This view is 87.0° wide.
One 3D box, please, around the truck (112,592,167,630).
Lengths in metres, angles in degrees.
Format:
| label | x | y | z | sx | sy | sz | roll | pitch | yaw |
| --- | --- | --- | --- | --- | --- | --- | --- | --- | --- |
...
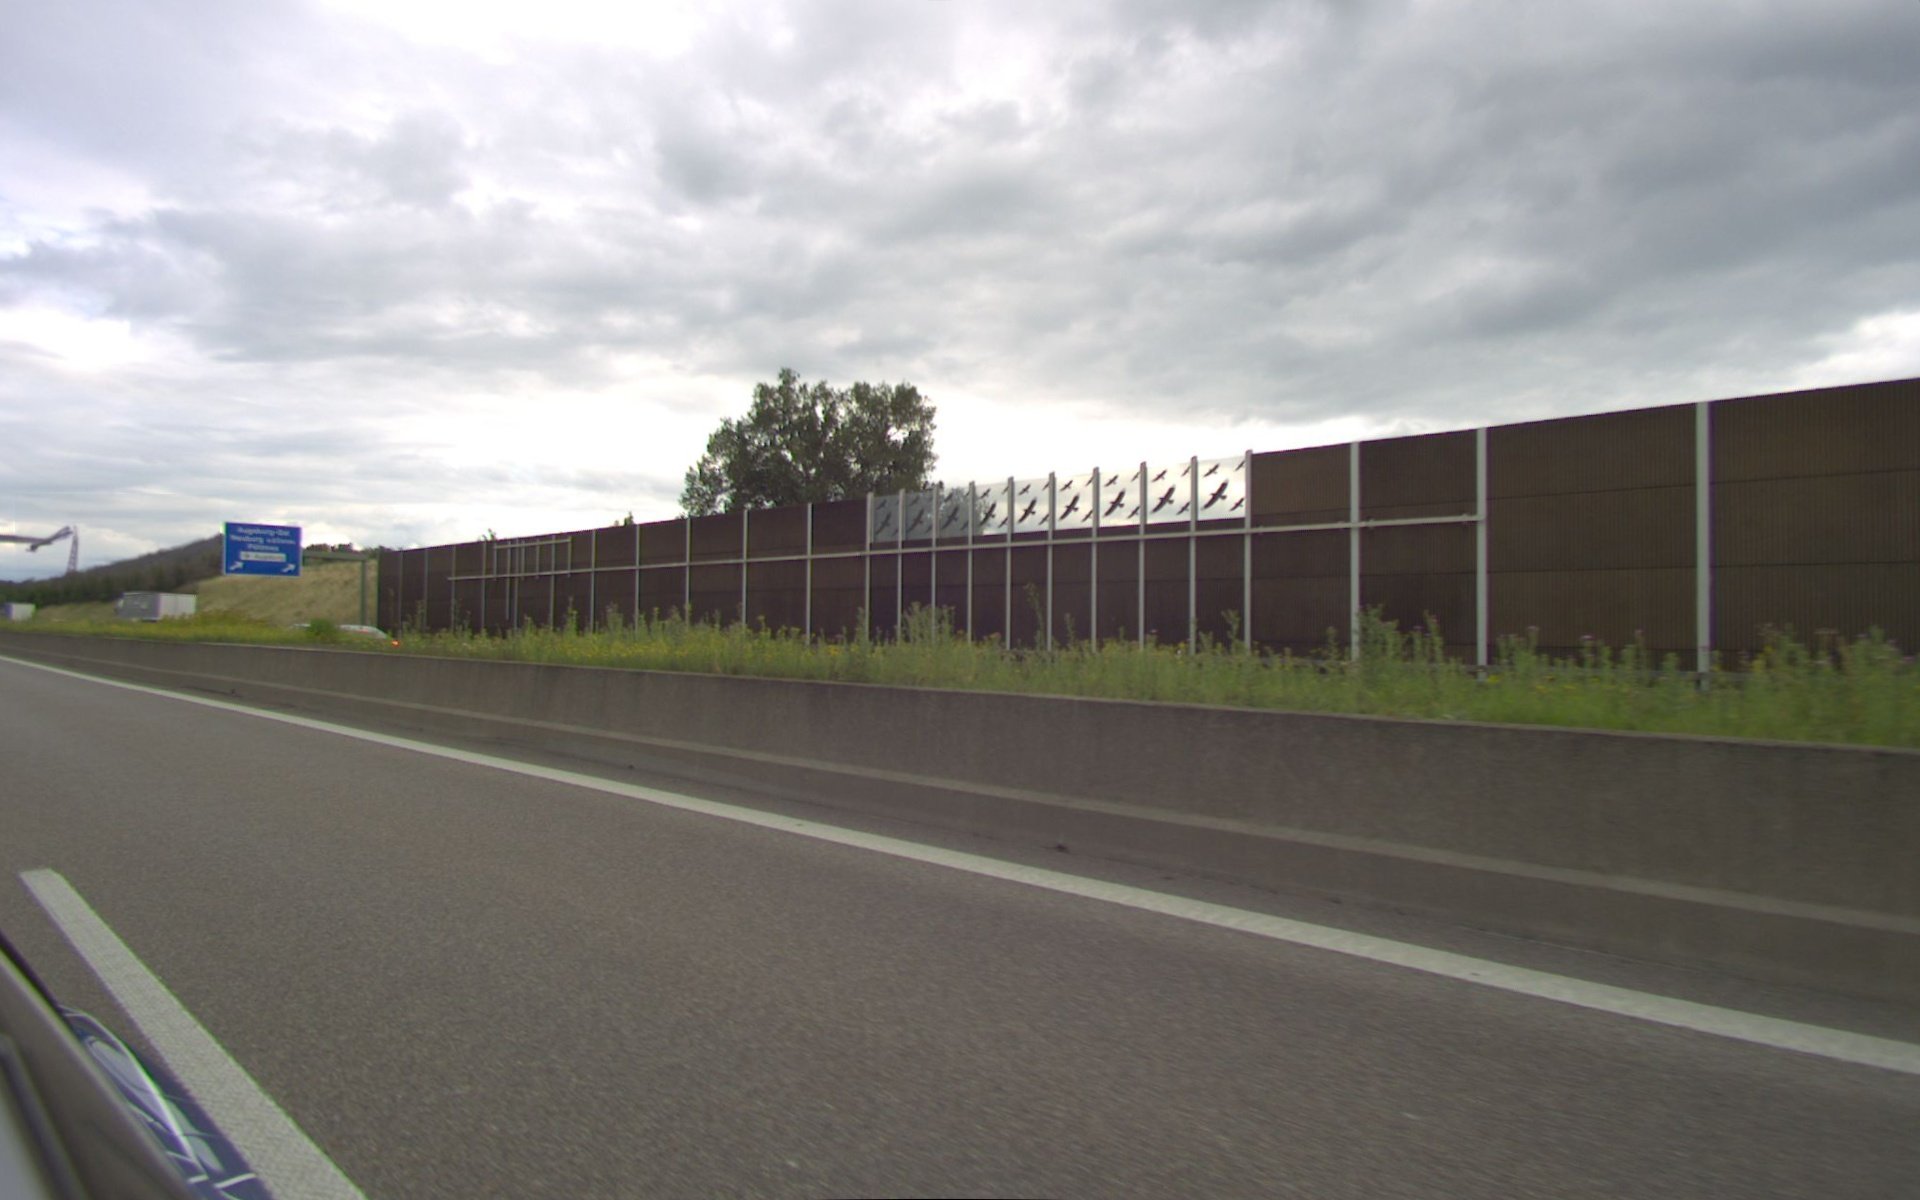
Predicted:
| label | x | y | z | sx | sy | sz | roll | pitch | yaw |
| --- | --- | --- | --- | --- | --- | --- | --- | --- | --- |
| truck | -73.346 | 0.984 | 90.467 | 5.978 | 3.252 | 2.795 | -1 | -2 | 41 |

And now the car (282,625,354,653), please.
| label | x | y | z | sx | sy | sz | roll | pitch | yaw |
| --- | --- | --- | --- | --- | --- | --- | --- | --- | --- |
| car | -30.202 | 1.798 | 47.600 | 3.996 | 1.267 | 1.688 | -1 | -2 | 39 |

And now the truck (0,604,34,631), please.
| label | x | y | z | sx | sy | sz | roll | pitch | yaw |
| --- | --- | --- | --- | --- | --- | --- | --- | --- | --- |
| truck | -135.938 | 2.537 | 145.226 | 10.929 | 3.630 | 3.225 | -1 | -2 | 41 |

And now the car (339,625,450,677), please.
| label | x | y | z | sx | sy | sz | roll | pitch | yaw |
| --- | --- | --- | --- | --- | --- | --- | --- | --- | --- |
| car | -17.668 | 1.539 | 31.566 | 3.996 | 1.498 | 1.688 | -1 | -2 | 39 |

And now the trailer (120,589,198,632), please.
| label | x | y | z | sx | sy | sz | roll | pitch | yaw |
| --- | --- | --- | --- | --- | --- | --- | --- | --- | --- |
| trailer | -68.122 | 0.911 | 85.883 | 13.503 | 3.402 | 2.790 | -1 | -2 | 41 |
